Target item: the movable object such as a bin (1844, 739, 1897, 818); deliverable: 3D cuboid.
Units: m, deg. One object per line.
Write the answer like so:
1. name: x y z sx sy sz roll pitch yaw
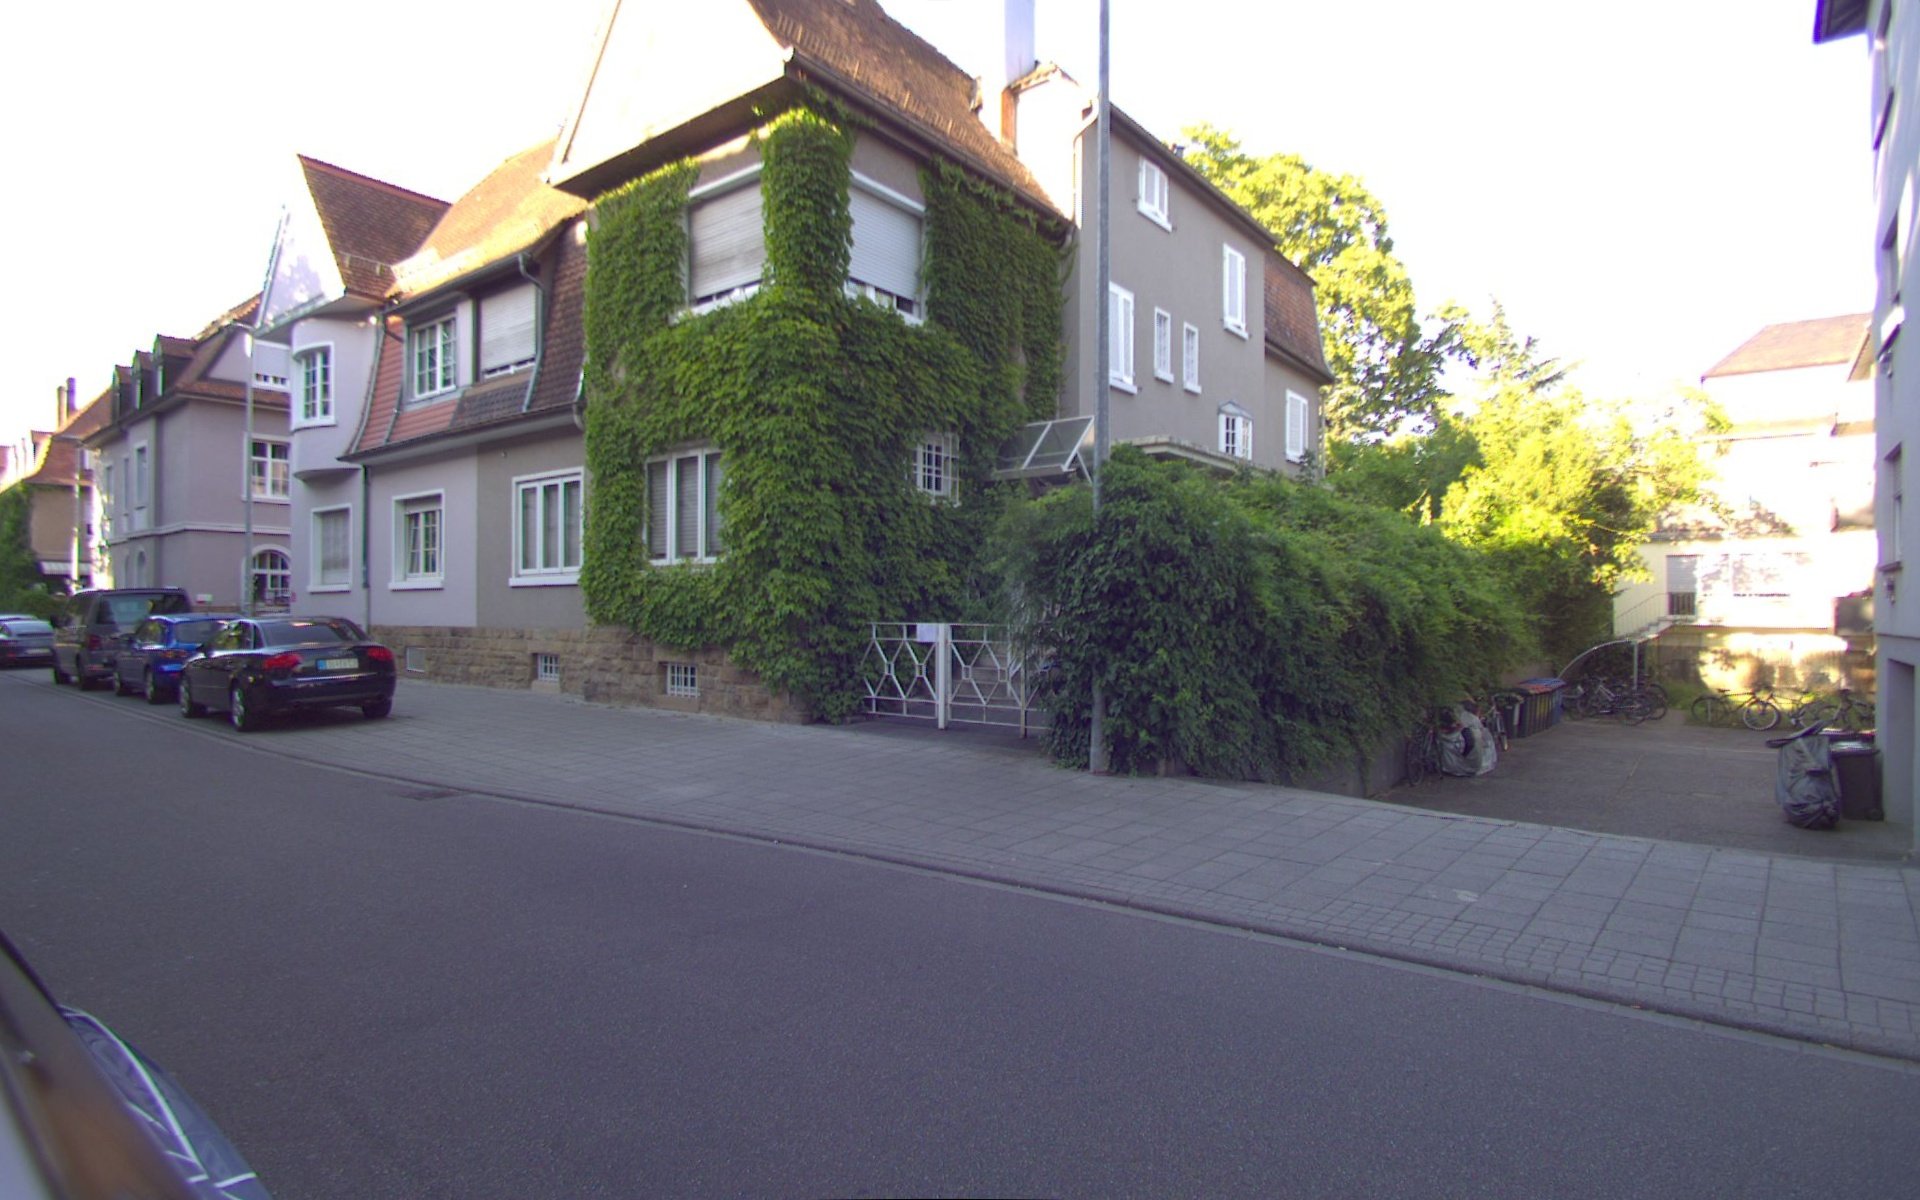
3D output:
1. movable object such as a bin: 11.769 2.295 13.093 0.432 0.894 0.717 -1 -3 37

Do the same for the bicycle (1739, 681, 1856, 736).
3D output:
1. bicycle: 19.560 2.504 23.669 2.068 1.028 0.634 1 3 41

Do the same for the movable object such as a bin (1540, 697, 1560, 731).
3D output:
1. movable object such as a bin: 13.791 2.654 23.653 0.346 0.764 0.359 -1 -4 41

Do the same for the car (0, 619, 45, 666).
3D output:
1. car: -30.285 1.331 31.948 3.942 1.381 1.522 -1 1 40

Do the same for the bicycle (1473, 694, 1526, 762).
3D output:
1. bicycle: 9.965 2.333 18.666 0.514 1.027 1.914 1 0 38

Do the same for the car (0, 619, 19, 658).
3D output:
1. car: -36.537 1.441 37.688 3.942 1.381 1.698 -1 1 40

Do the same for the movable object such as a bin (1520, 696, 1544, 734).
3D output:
1. movable object such as a bin: 12.528 2.515 22.178 0.398 0.779 0.359 -1 -4 41

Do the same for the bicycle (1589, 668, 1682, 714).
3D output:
1. bicycle: 18.624 2.492 27.933 2.068 1.028 0.608 1 3 41

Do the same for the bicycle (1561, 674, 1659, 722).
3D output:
1. bicycle: 16.846 2.515 26.264 2.068 1.028 0.565 1 3 41

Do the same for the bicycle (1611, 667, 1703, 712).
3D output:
1. bicycle: 19.426 2.481 28.237 2.068 1.028 0.561 1 3 41

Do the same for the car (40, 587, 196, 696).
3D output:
1. car: -17.455 0.781 20.919 4.308 1.987 1.698 0 2 40

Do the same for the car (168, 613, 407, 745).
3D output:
1. car: -9.288 0.954 13.860 4.023 1.439 1.729 0 2 42

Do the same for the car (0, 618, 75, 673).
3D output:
1. car: -26.396 1.230 28.389 4.331 1.381 1.698 -1 1 40

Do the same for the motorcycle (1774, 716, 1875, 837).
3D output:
1. motorcycle: 10.733 2.148 12.617 0.757 1.261 1.575 -1 -3 34

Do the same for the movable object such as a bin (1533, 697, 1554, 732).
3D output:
1. movable object such as a bin: 13.292 2.611 23.052 0.367 0.764 0.359 -1 -4 41

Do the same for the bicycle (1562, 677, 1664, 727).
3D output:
1. bicycle: 16.282 2.523 25.253 2.068 1.028 0.634 1 3 41

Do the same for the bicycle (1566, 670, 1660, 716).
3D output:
1. bicycle: 17.707 2.504 27.467 2.068 1.028 0.608 1 3 41

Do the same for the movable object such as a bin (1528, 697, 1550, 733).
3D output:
1. movable object such as a bin: 13.030 2.582 22.760 0.375 0.764 0.359 -1 -4 41

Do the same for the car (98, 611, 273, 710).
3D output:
1. car: -13.711 0.971 17.839 4.021 1.475 1.591 0 2 40

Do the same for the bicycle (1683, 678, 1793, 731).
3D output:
1. bicycle: 18.723 2.491 24.387 2.068 1.028 0.634 1 3 41

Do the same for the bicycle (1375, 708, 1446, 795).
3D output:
1. bicycle: 6.773 2.228 15.158 0.514 1.027 1.914 1 0 38

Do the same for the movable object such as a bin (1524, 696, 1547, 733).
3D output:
1. movable object such as a bin: 12.783 2.543 22.464 0.381 0.779 0.359 -1 -4 41

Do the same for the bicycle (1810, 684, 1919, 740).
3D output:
1. bicycle: 20.520 2.516 22.815 2.068 1.028 0.634 1 3 41

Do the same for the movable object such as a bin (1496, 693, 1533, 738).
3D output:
1. movable object such as a bin: 11.551 2.402 21.090 0.576 0.886 0.488 0 -3 41

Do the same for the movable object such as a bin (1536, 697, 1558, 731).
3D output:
1. movable object such as a bin: 13.544 2.627 23.349 0.367 0.764 0.359 -1 -4 41
